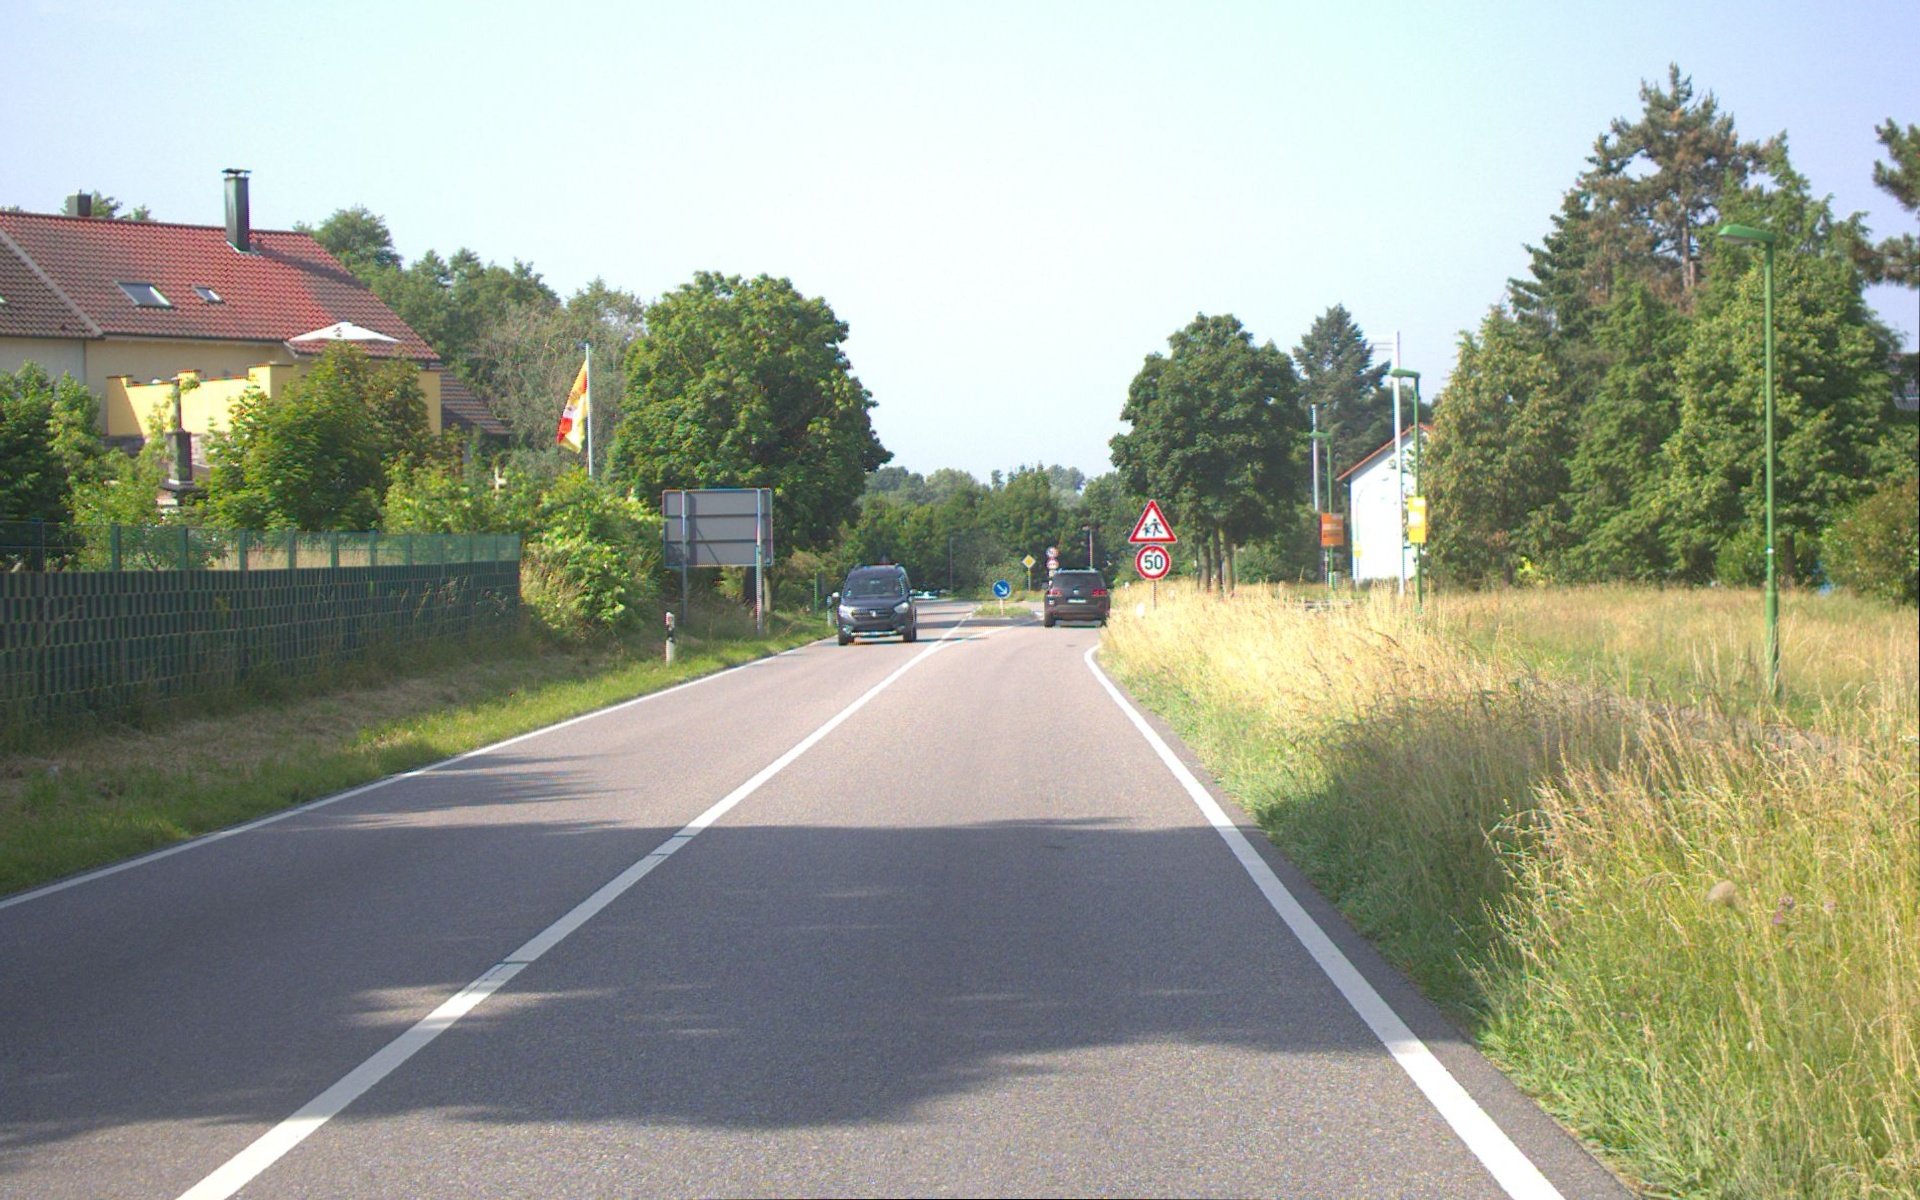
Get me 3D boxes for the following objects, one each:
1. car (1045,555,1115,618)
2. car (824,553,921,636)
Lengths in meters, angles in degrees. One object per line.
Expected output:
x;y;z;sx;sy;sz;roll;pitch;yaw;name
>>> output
3.512;-0.416;101.250;1.925;1.765;4.000;-1;1;0;car
-2.014;-0.152;80.306;1.939;1.811;4.242;-3;1;2;car
